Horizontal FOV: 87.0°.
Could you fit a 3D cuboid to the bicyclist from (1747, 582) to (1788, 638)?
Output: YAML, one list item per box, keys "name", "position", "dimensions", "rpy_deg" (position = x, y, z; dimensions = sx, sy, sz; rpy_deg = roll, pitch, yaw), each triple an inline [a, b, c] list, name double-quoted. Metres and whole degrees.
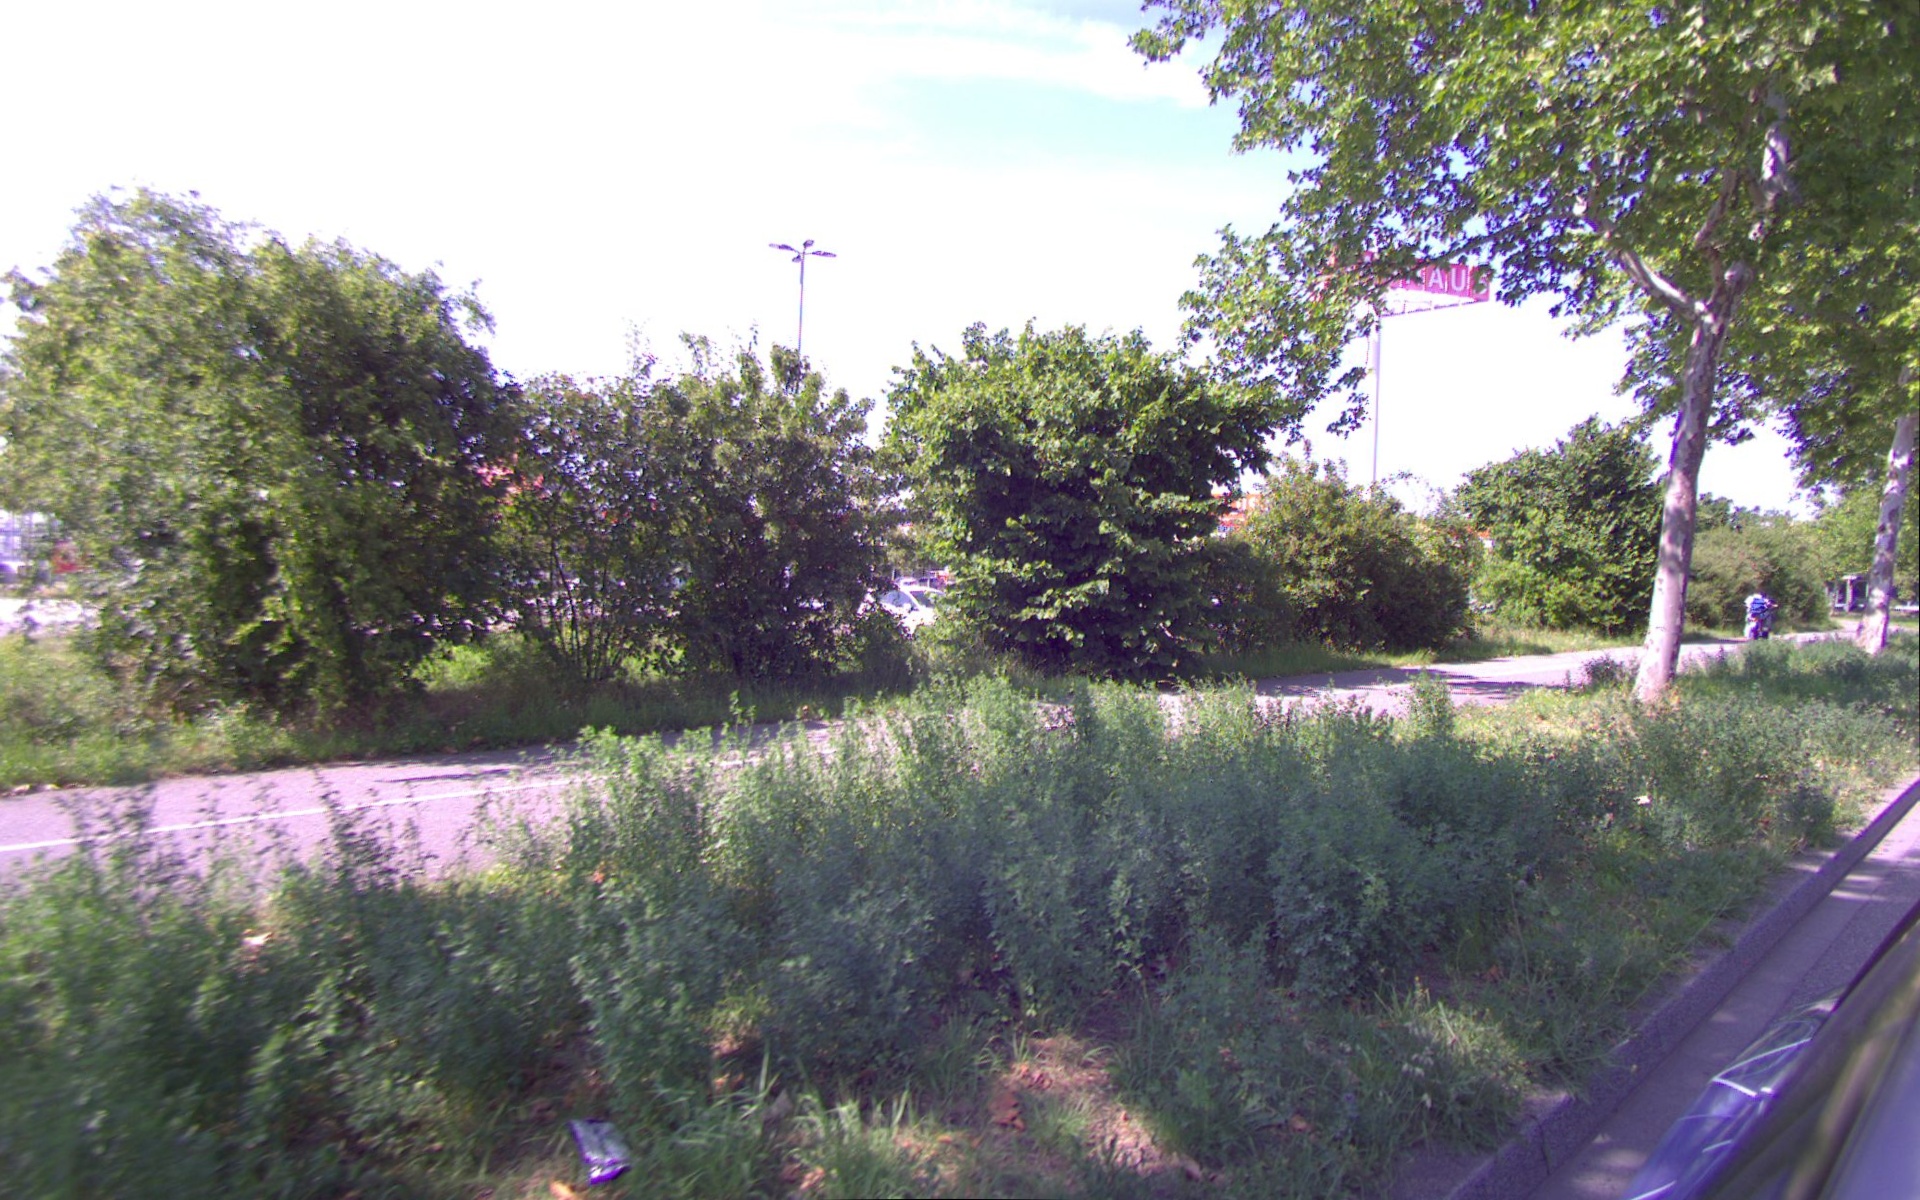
- name: "bicyclist"
  position: [22.409, 0.264, 28.089]
  dimensions: [0.992, 1.495, 0.705]
  rpy_deg: [0, 0, -40]

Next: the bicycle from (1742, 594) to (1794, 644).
- name: "bicycle"
  position: [22.416, 0.505, 28.072]
  dimensions: [2.058, 1.315, 0.724]
  rpy_deg: [0, 1, -40]
